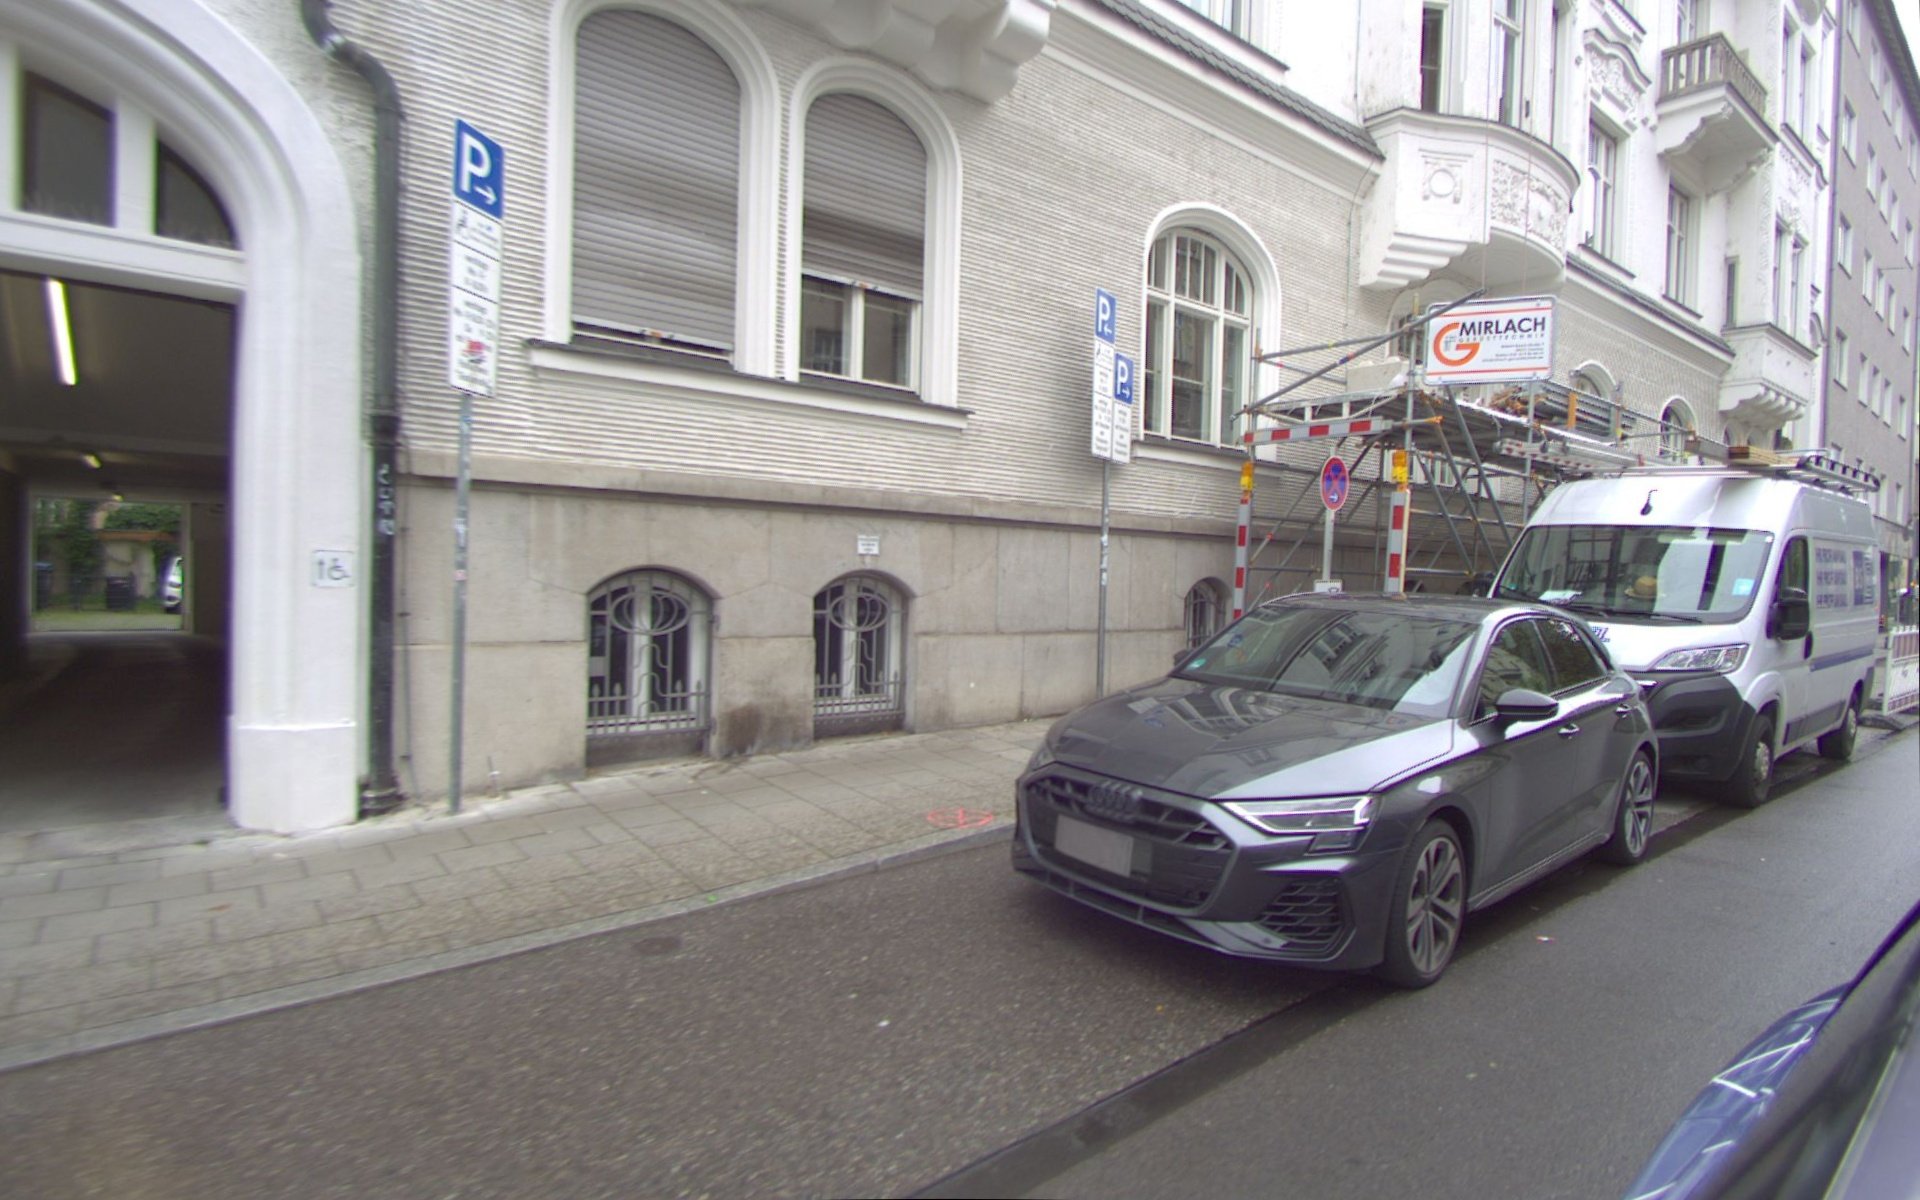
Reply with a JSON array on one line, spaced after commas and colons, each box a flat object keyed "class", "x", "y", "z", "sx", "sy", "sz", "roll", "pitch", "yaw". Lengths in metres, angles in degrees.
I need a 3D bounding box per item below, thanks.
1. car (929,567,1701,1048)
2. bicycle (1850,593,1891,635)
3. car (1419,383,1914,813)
[{"class": "car", "x": 2.033, "y": 0.595, "z": 5.085, "sx": 4.169, "sy": 1.425, "sz": 1.792, "roll": 0, "pitch": 2, "yaw": -40}, {"class": "bicycle", "x": 25.661, "y": 0.382, "z": 28.514, "sx": 1.813, "sy": 1.131, "sz": 0.592, "roll": 0, "pitch": 2, "yaw": -41}, {"class": "car", "x": 6.414, "y": -0.076, "z": 8.898, "sx": 5.347, "sy": 2.721, "sz": 2.082, "roll": 0, "pitch": 3, "yaw": -39}]
